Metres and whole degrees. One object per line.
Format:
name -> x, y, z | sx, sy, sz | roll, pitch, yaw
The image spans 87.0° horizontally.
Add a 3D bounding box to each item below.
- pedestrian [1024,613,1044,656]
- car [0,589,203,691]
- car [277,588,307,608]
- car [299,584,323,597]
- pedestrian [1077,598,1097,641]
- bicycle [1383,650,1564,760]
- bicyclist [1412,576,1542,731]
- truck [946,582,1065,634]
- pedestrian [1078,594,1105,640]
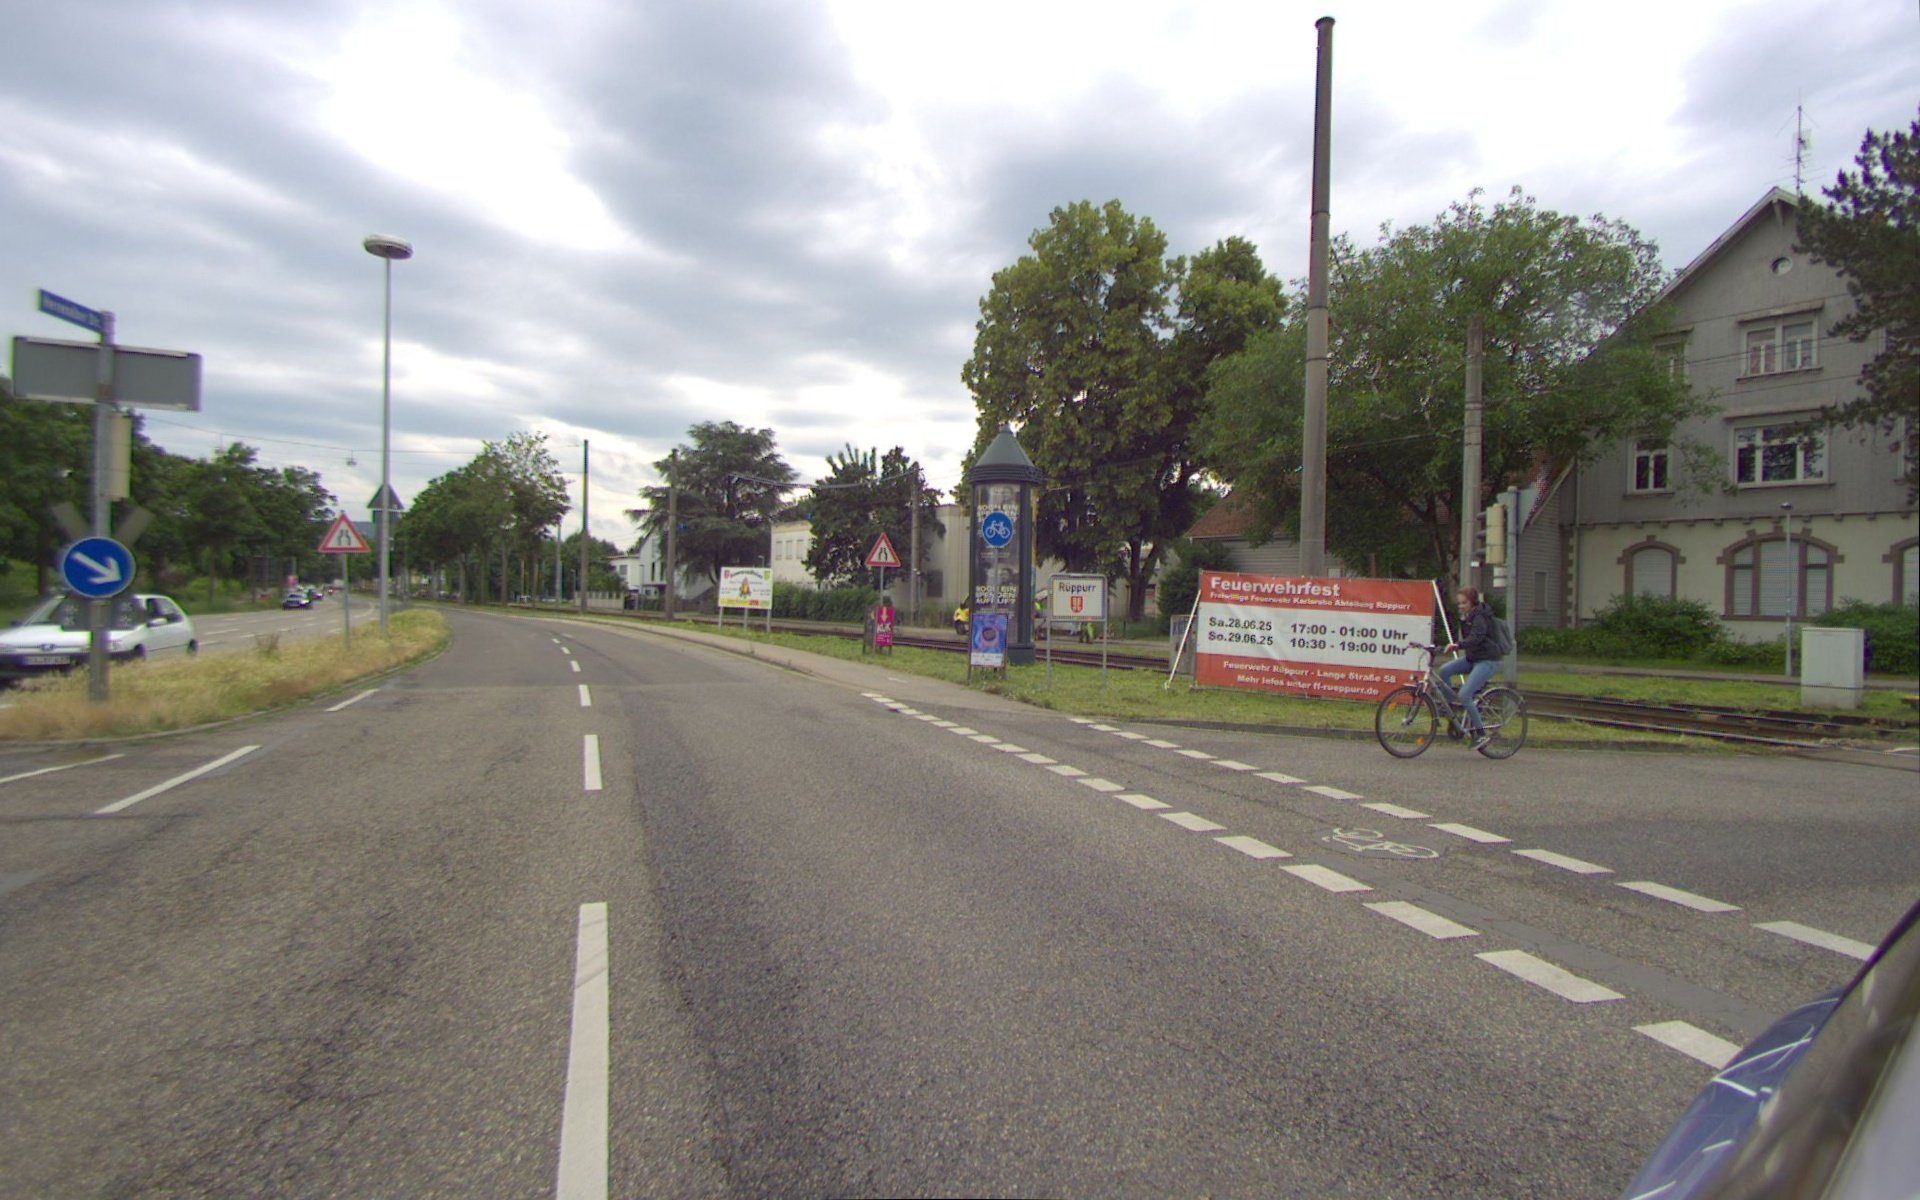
pedestrian -> 3.298, 1.504, 44.864 | 0.704, 1.863, 0.605 | 1, -1, 22
car -> -13.497, 0.533, 15.820 | 1.612, 1.374, 4.158 | 1, 0, -22
car -> -53.030, -0.176, 80.394 | 1.628, 1.549, 3.895 | 1, 0, -29
car -> -78.152, -1.141, 121.916 | 1.723, 1.594, 4.007 | 1, 0, -24
pedestrian -> 5.411, 0.830, 43.216 | 0.626, 1.784, 0.574 | 1, 0, -43
bicycle -> 5.066, 1.018, 9.950 | 1.987, 0.993, 0.384 | 2, -1, -23
bicyclist -> 5.071, 0.521, 9.938 | 0.941, 1.444, 0.624 | 1, -4, -24
truck -> 2.096, 0.339, 49.201 | 2.554, 2.322, 6.415 | 1, 0, -33
pedestrian -> 5.484, 0.705, 42.278 | 0.855, 1.878, 0.681 | 2, -1, -21
